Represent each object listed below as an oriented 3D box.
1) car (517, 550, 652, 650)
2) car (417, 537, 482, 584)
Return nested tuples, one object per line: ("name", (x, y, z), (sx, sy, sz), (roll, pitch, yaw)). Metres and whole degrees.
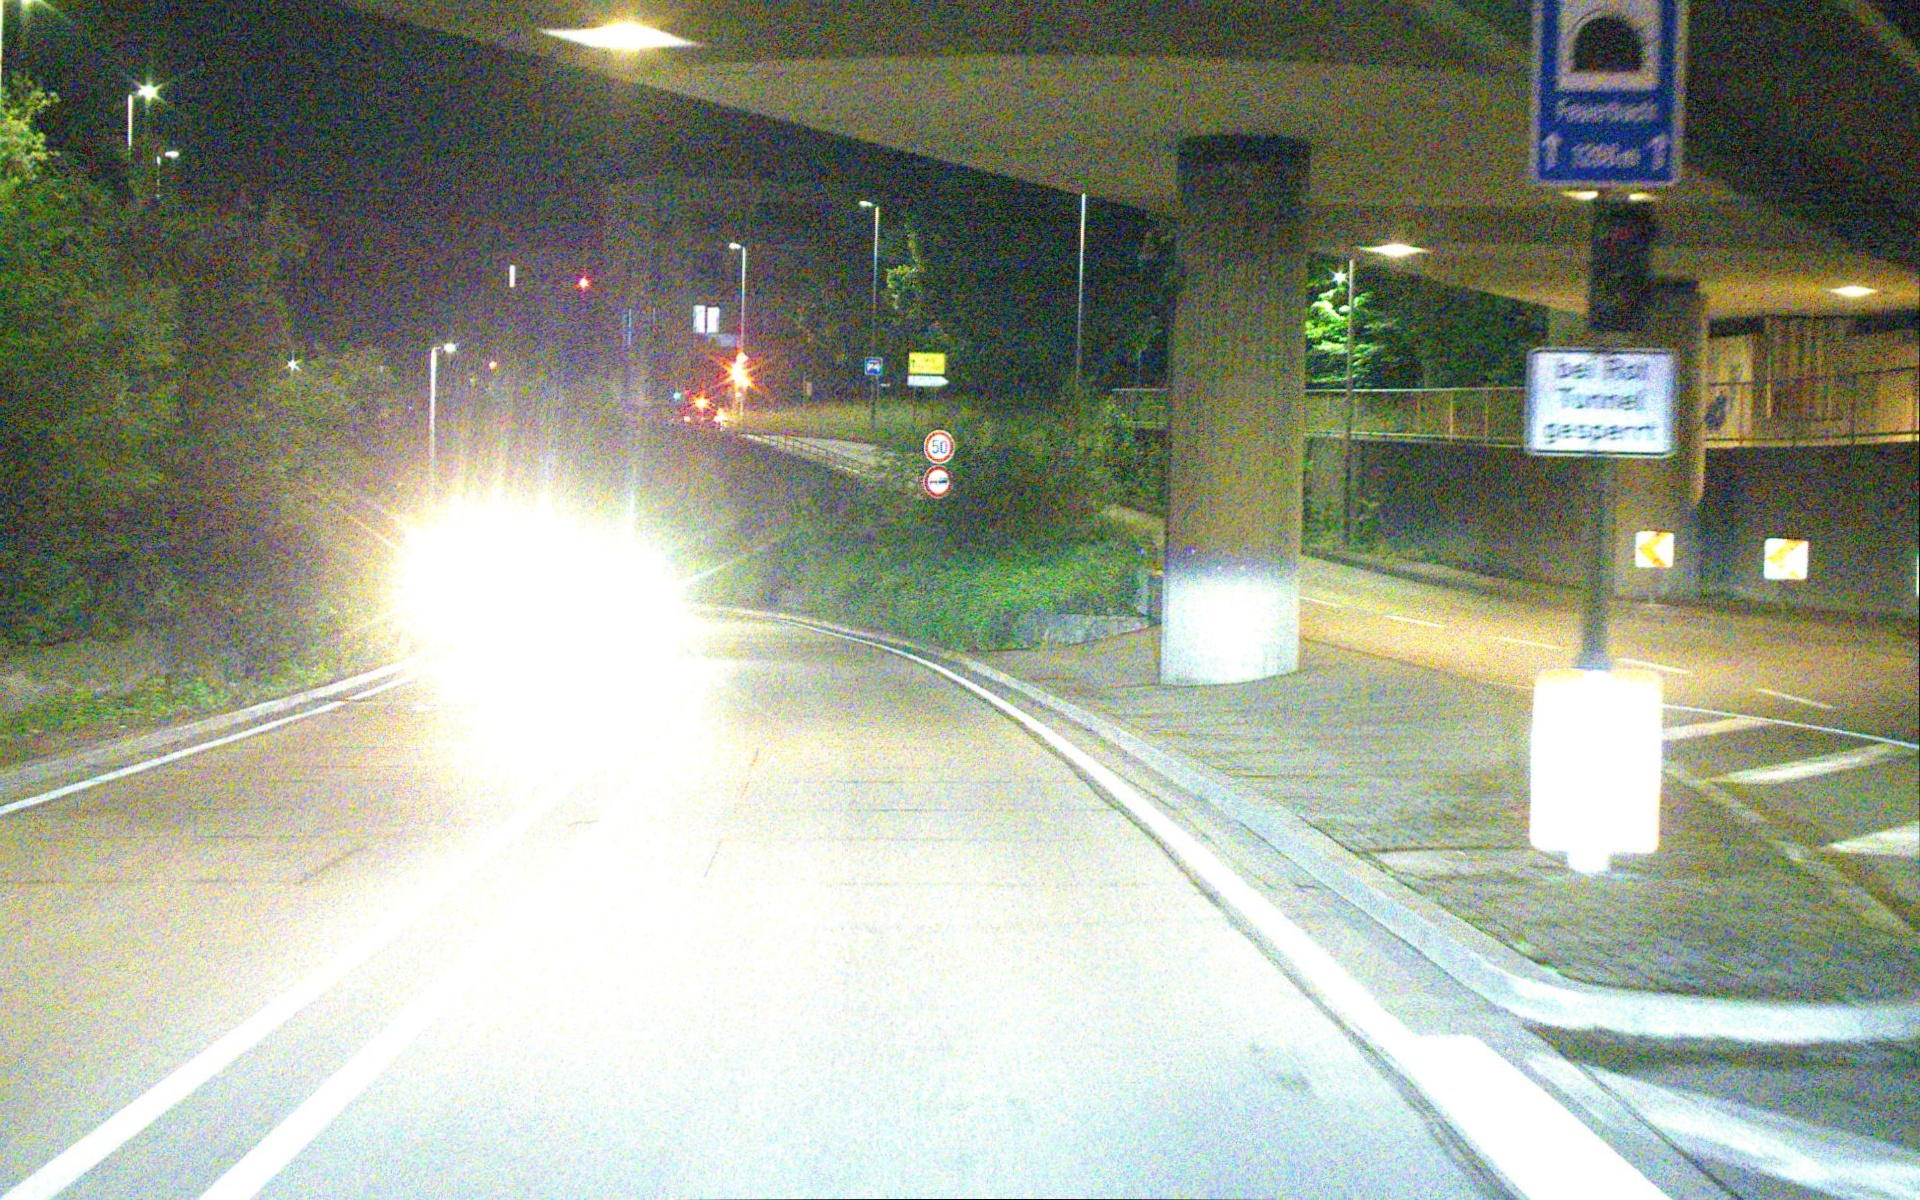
("car", (-5.745, 0.001, 52.942), (1.787, 1.442, 4.172), (1, 0, -3))
("car", (-16.628, -1.285, 111.918), (1.858, 1.505, 4.001), (-1, 0, -12))
